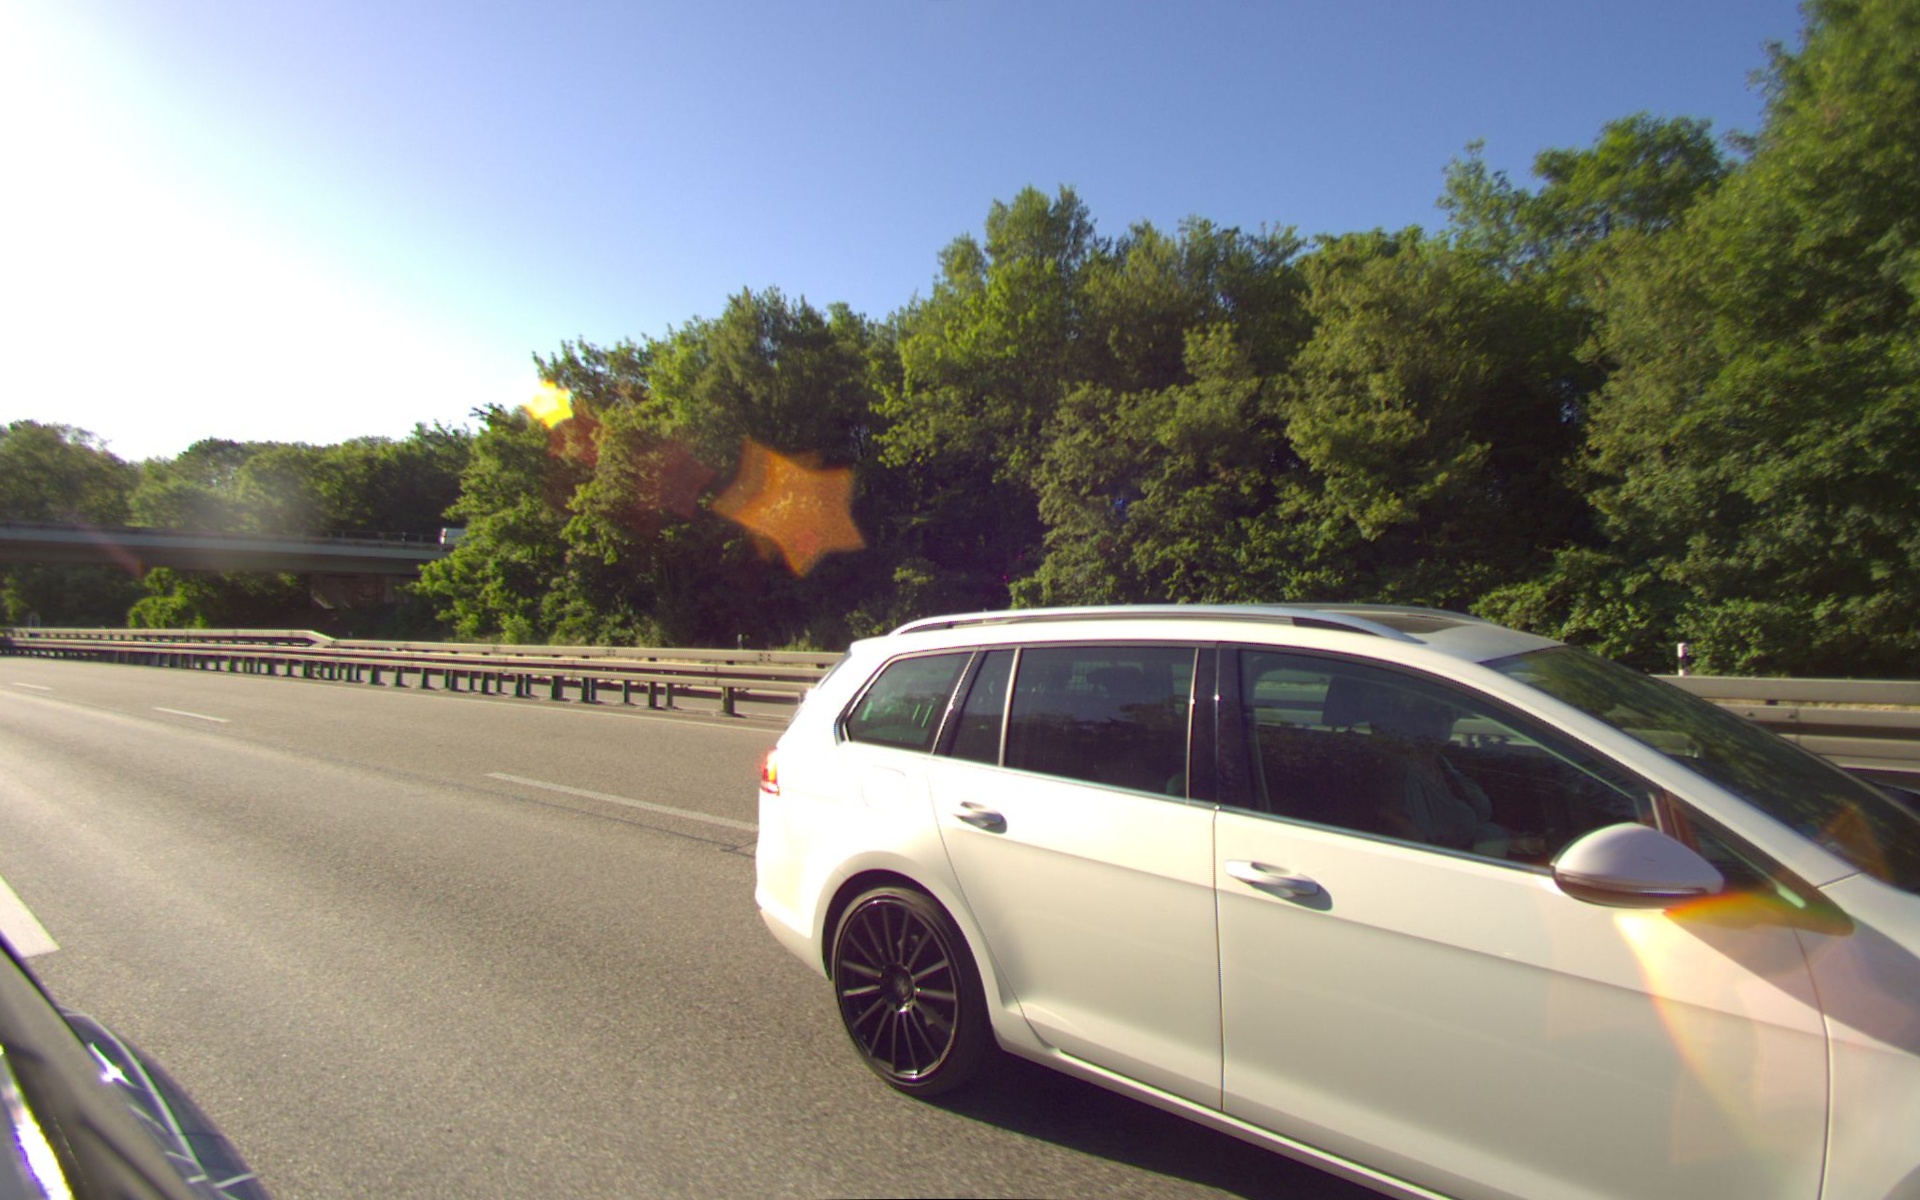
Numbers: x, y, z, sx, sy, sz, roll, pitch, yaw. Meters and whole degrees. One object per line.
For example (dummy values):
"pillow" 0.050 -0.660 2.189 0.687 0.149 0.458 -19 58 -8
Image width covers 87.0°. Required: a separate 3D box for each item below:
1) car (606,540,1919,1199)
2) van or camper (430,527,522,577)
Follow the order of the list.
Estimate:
"car" 1.324 0.680 2.892 5.596 1.519 1.909 -1 -1 41
"van or camper" -32.756 -3.213 68.528 5.367 3.205 2.006 1 2 -31
